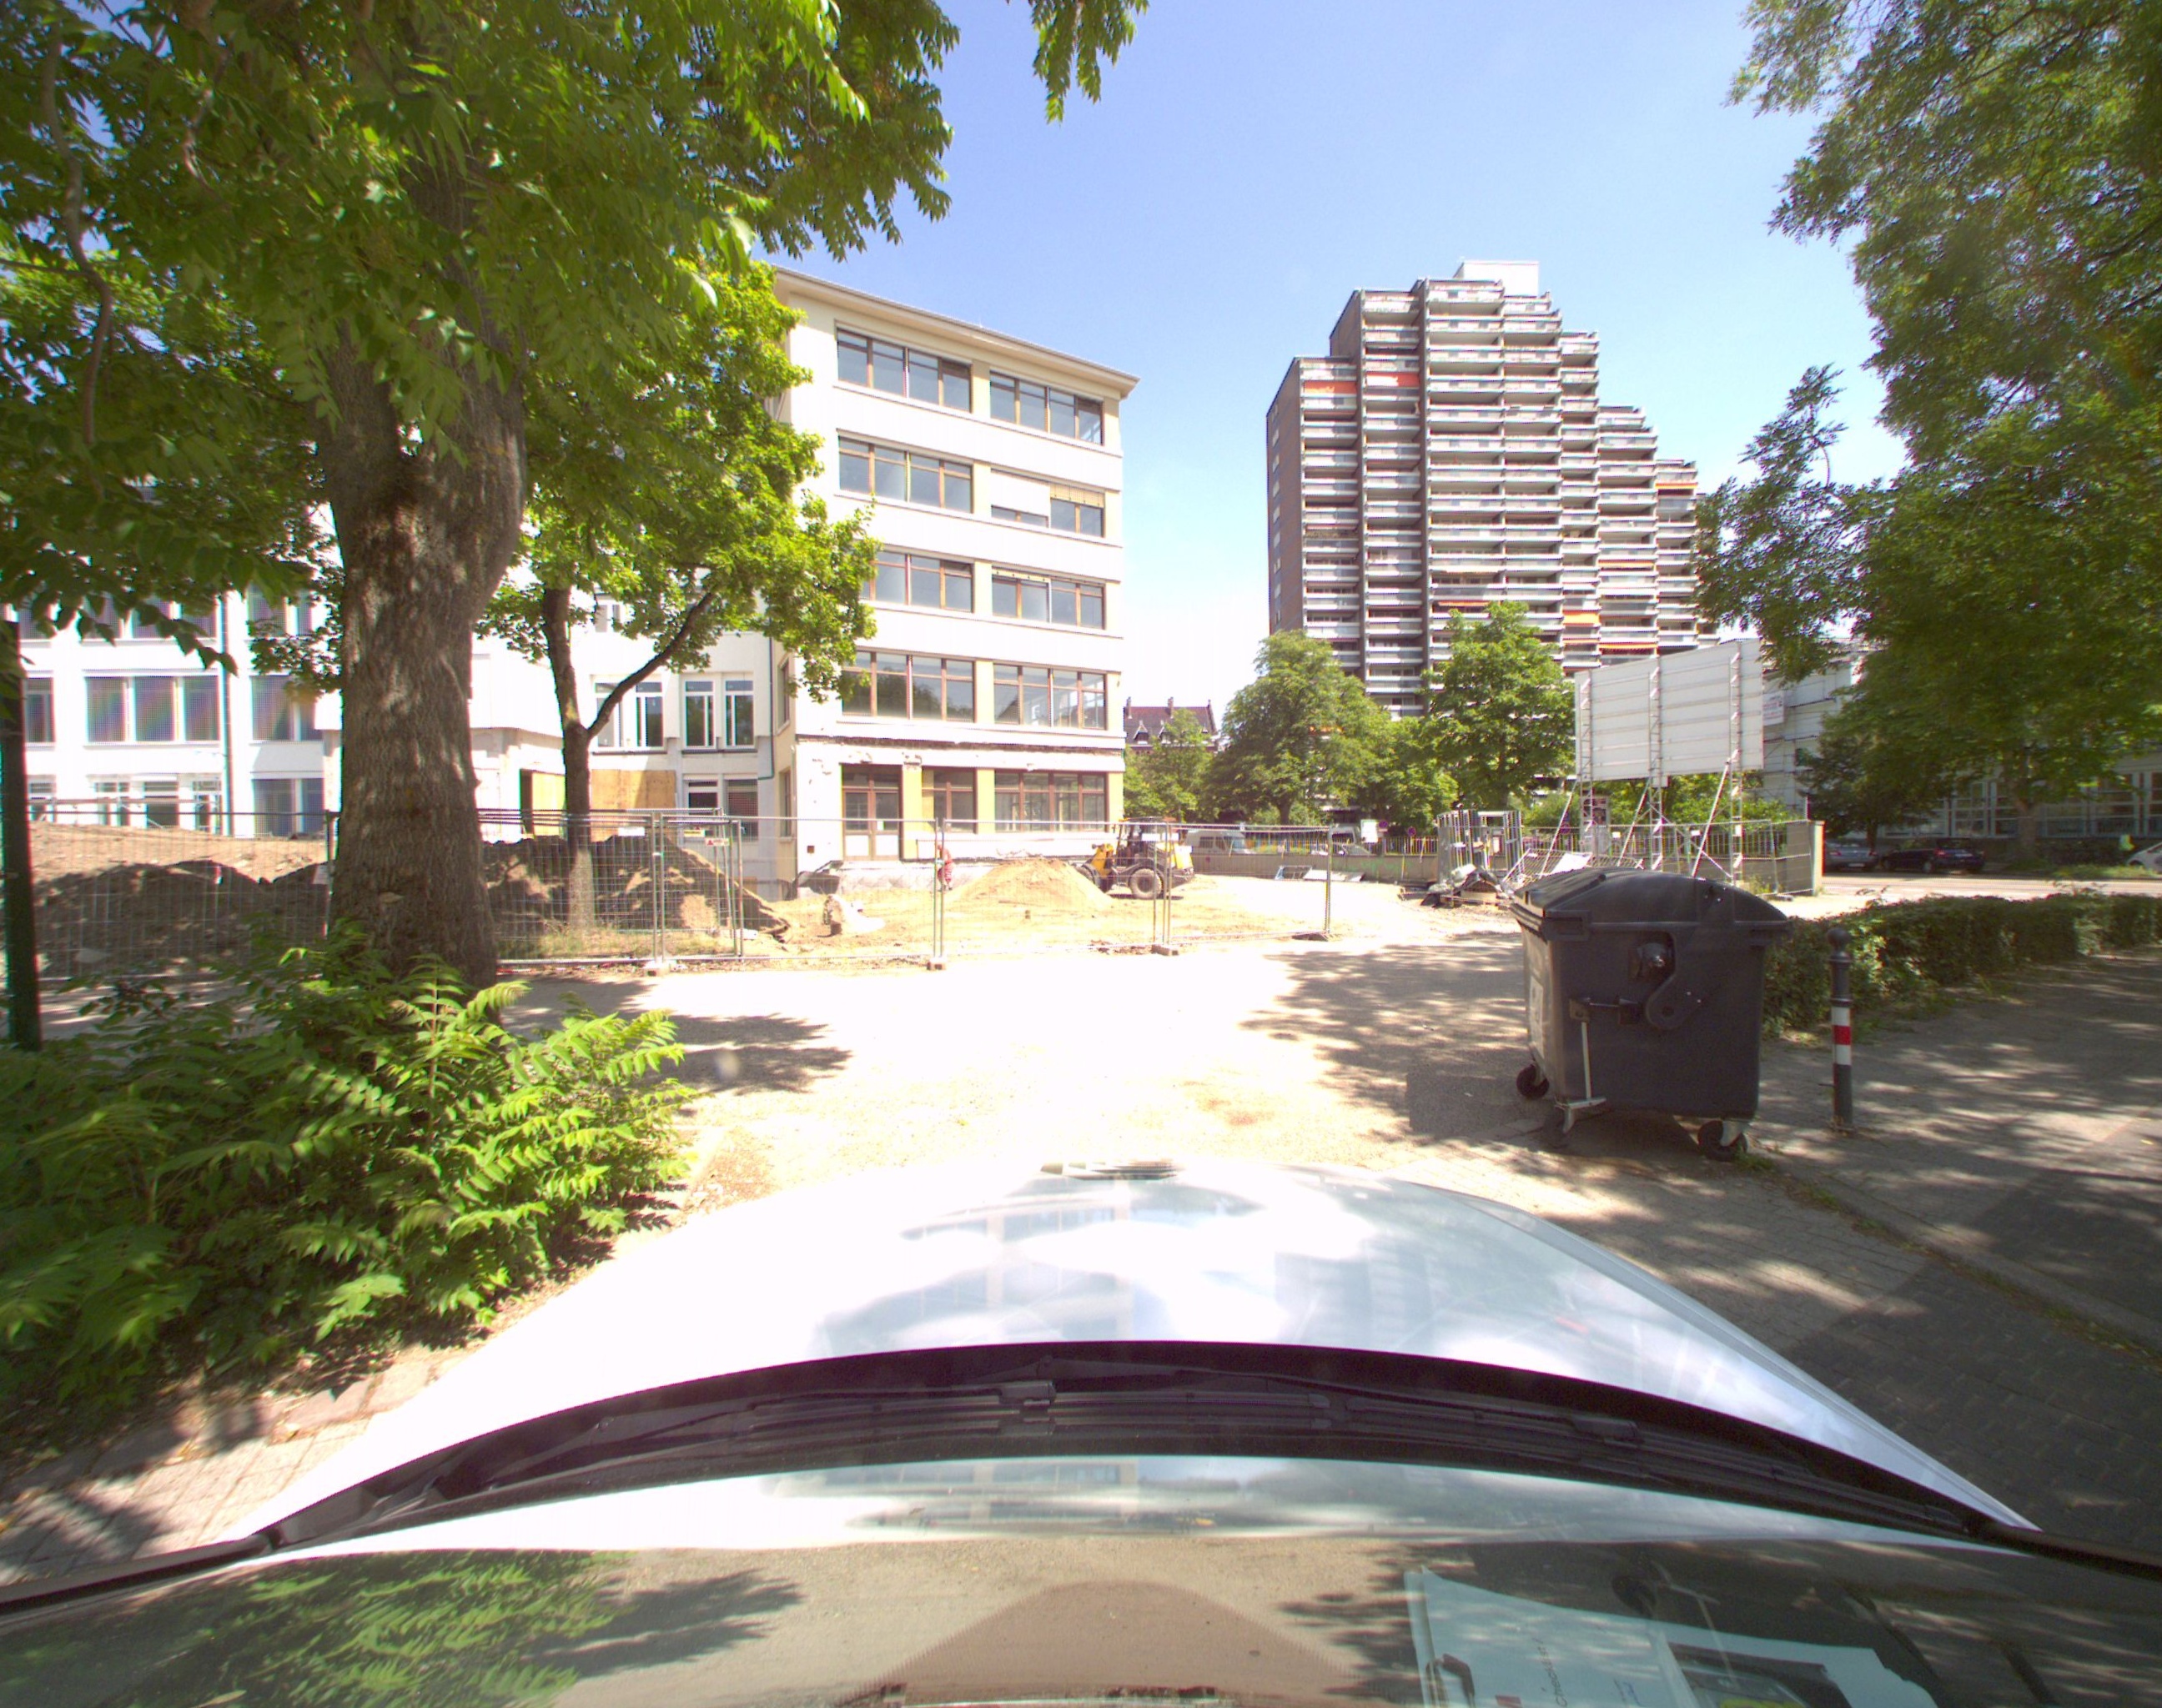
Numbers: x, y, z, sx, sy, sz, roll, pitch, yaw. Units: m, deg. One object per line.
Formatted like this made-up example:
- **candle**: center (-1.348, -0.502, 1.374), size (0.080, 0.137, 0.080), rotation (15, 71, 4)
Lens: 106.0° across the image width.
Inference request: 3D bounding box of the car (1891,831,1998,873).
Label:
- **car**: center (35.325, -0.087, 33.459), size (1.992, 1.629, 3.955), rotation (-1, 0, 31)

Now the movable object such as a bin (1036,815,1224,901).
- **movable object such as a bin**: center (1.537, 0.055, 25.439), size (5.356, 2.464, 2.381), rotation (1, 1, 22)

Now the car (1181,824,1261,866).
- **car**: center (8.464, -0.536, 49.712), size (2.005, 2.416, 5.195), rotation (-1, 0, -28)

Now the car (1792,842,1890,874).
- **car**: center (33.519, 0.155, 36.061), size (1.897, 1.310, 3.952), rotation (-1, 0, 22)

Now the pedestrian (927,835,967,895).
- **pedestrian**: center (-4.194, 0.332, 25.432), size (0.988, 1.847, 0.909), rotation (-1, 0, -25)

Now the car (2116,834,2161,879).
- **car**: center (38.344, 0.078, 27.929), size (1.651, 1.589, 3.708), rotation (-1, 0, 16)

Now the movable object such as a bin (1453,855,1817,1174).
- **movable object such as a bin**: center (2.885, 0.746, 4.468), size (1.071, 1.458, 1.377), rotation (-1, 0, 1)

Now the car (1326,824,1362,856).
- **car**: center (19.965, -1.060, 61.657), size (2.165, 2.258, 4.895), rotation (-1, 0, 22)

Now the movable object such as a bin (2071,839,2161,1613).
- **movable object such as a bin**: center (2.542, 0.696, 0.961), size (1.071, 1.458, 1.377), rotation (-1, 0, 1)
